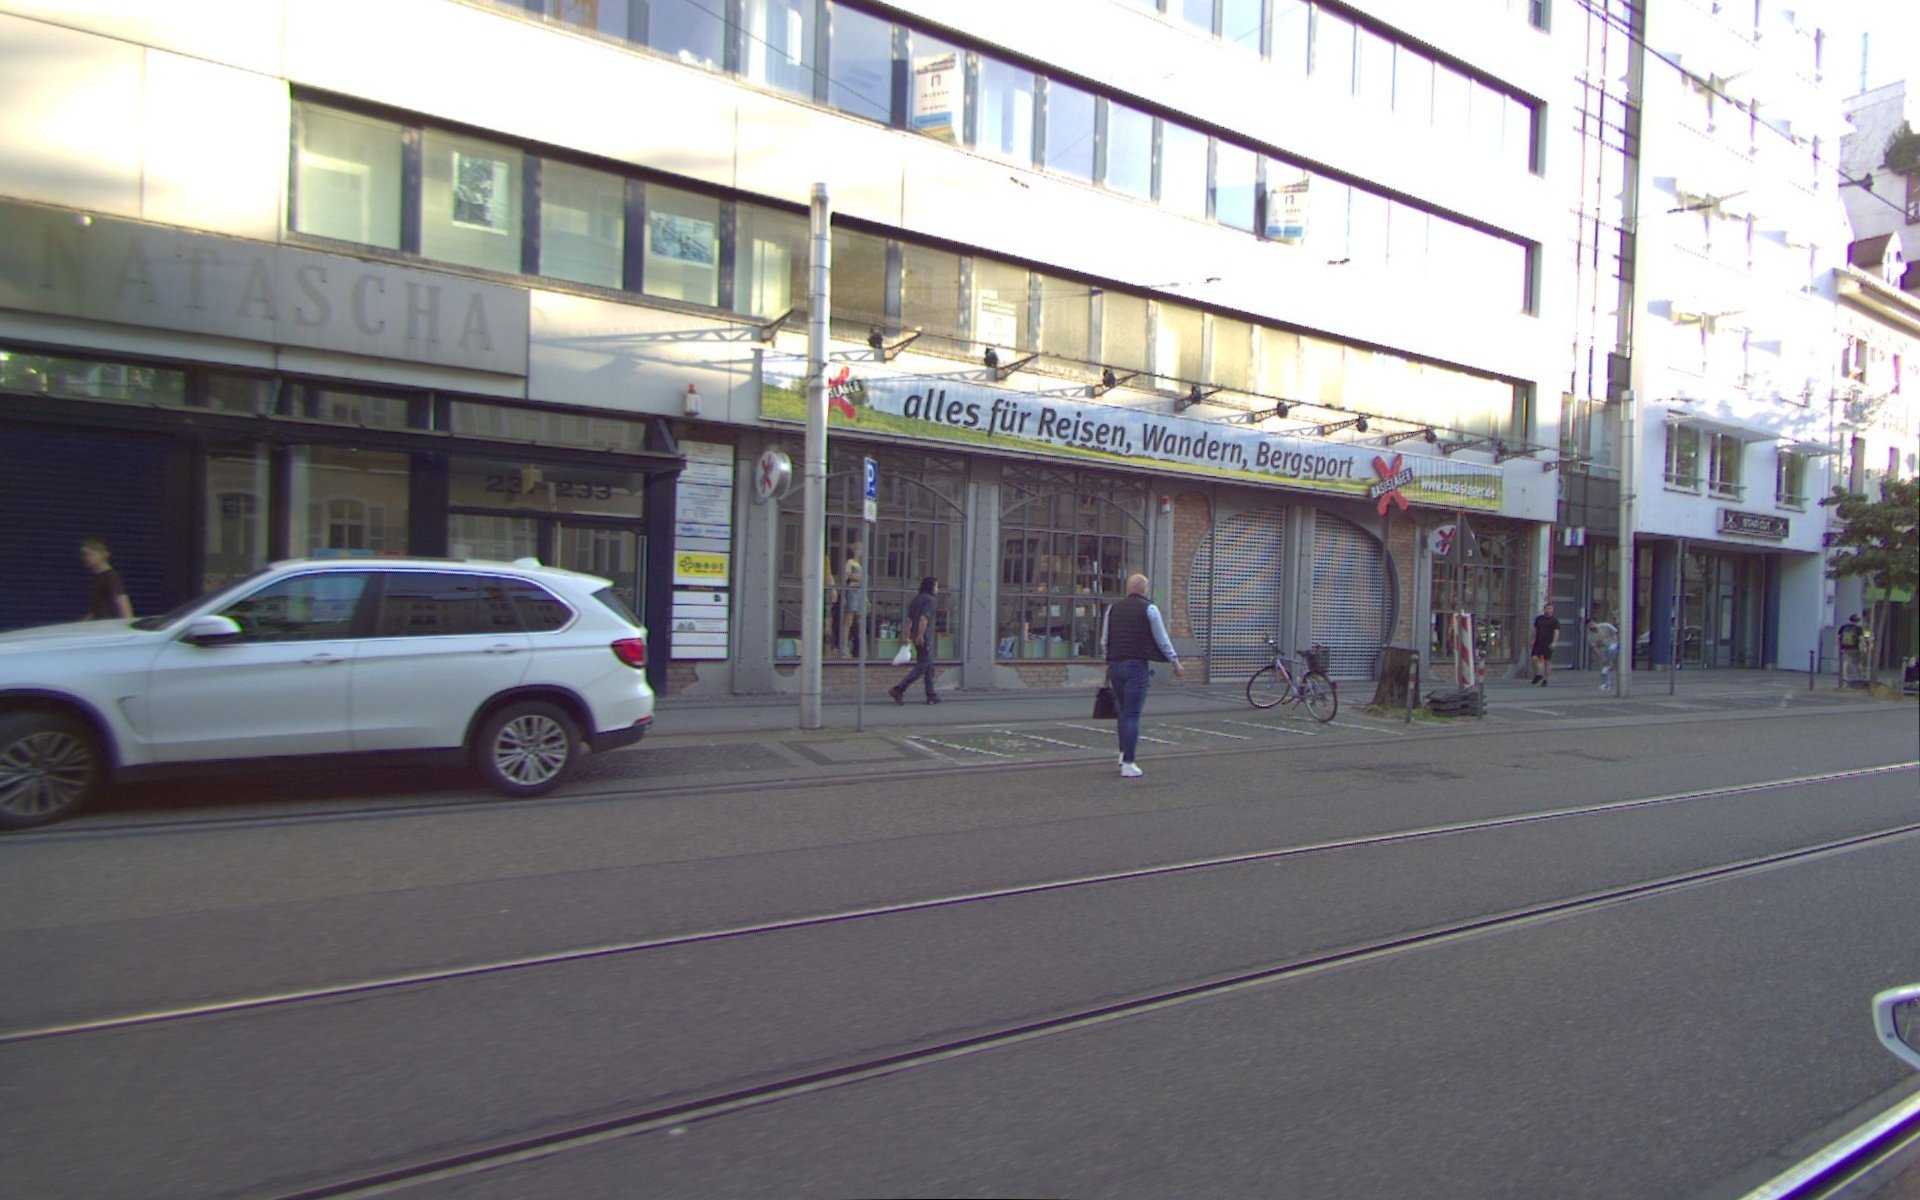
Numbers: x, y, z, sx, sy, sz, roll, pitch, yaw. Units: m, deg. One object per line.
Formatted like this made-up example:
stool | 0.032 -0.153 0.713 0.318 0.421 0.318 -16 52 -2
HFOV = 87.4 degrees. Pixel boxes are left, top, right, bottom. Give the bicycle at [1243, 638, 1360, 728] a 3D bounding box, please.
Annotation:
bicycle | 4.707 1.115 13.991 0.471 1.005 1.741 1 3 -22

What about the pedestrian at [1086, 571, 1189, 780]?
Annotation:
pedestrian | 1.636 0.652 9.174 0.836 1.790 0.832 1 0 14

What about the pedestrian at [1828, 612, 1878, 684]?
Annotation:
pedestrian | 23.972 1.284 26.975 0.868 1.850 0.656 2 3 -30

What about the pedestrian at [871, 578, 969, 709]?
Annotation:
pedestrian | -0.566 0.583 13.933 1.025 1.718 0.828 2 3 -30

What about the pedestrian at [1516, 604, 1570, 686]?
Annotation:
pedestrian | 12.637 0.965 21.776 0.797 1.736 0.625 2 1 -26

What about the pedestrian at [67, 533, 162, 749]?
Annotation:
pedestrian | -8.290 0.389 9.870 0.586 2.040 0.611 1 0 -31

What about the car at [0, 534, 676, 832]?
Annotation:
car | -4.802 0.497 7.697 4.690 1.778 1.983 2 2 -31

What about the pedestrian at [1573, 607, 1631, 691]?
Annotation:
pedestrian | 13.692 1.033 21.419 0.818 1.736 0.639 2 1 -26

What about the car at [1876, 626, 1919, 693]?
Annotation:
car | 26.013 1.579 26.020 3.647 1.638 1.630 2 2 -15
